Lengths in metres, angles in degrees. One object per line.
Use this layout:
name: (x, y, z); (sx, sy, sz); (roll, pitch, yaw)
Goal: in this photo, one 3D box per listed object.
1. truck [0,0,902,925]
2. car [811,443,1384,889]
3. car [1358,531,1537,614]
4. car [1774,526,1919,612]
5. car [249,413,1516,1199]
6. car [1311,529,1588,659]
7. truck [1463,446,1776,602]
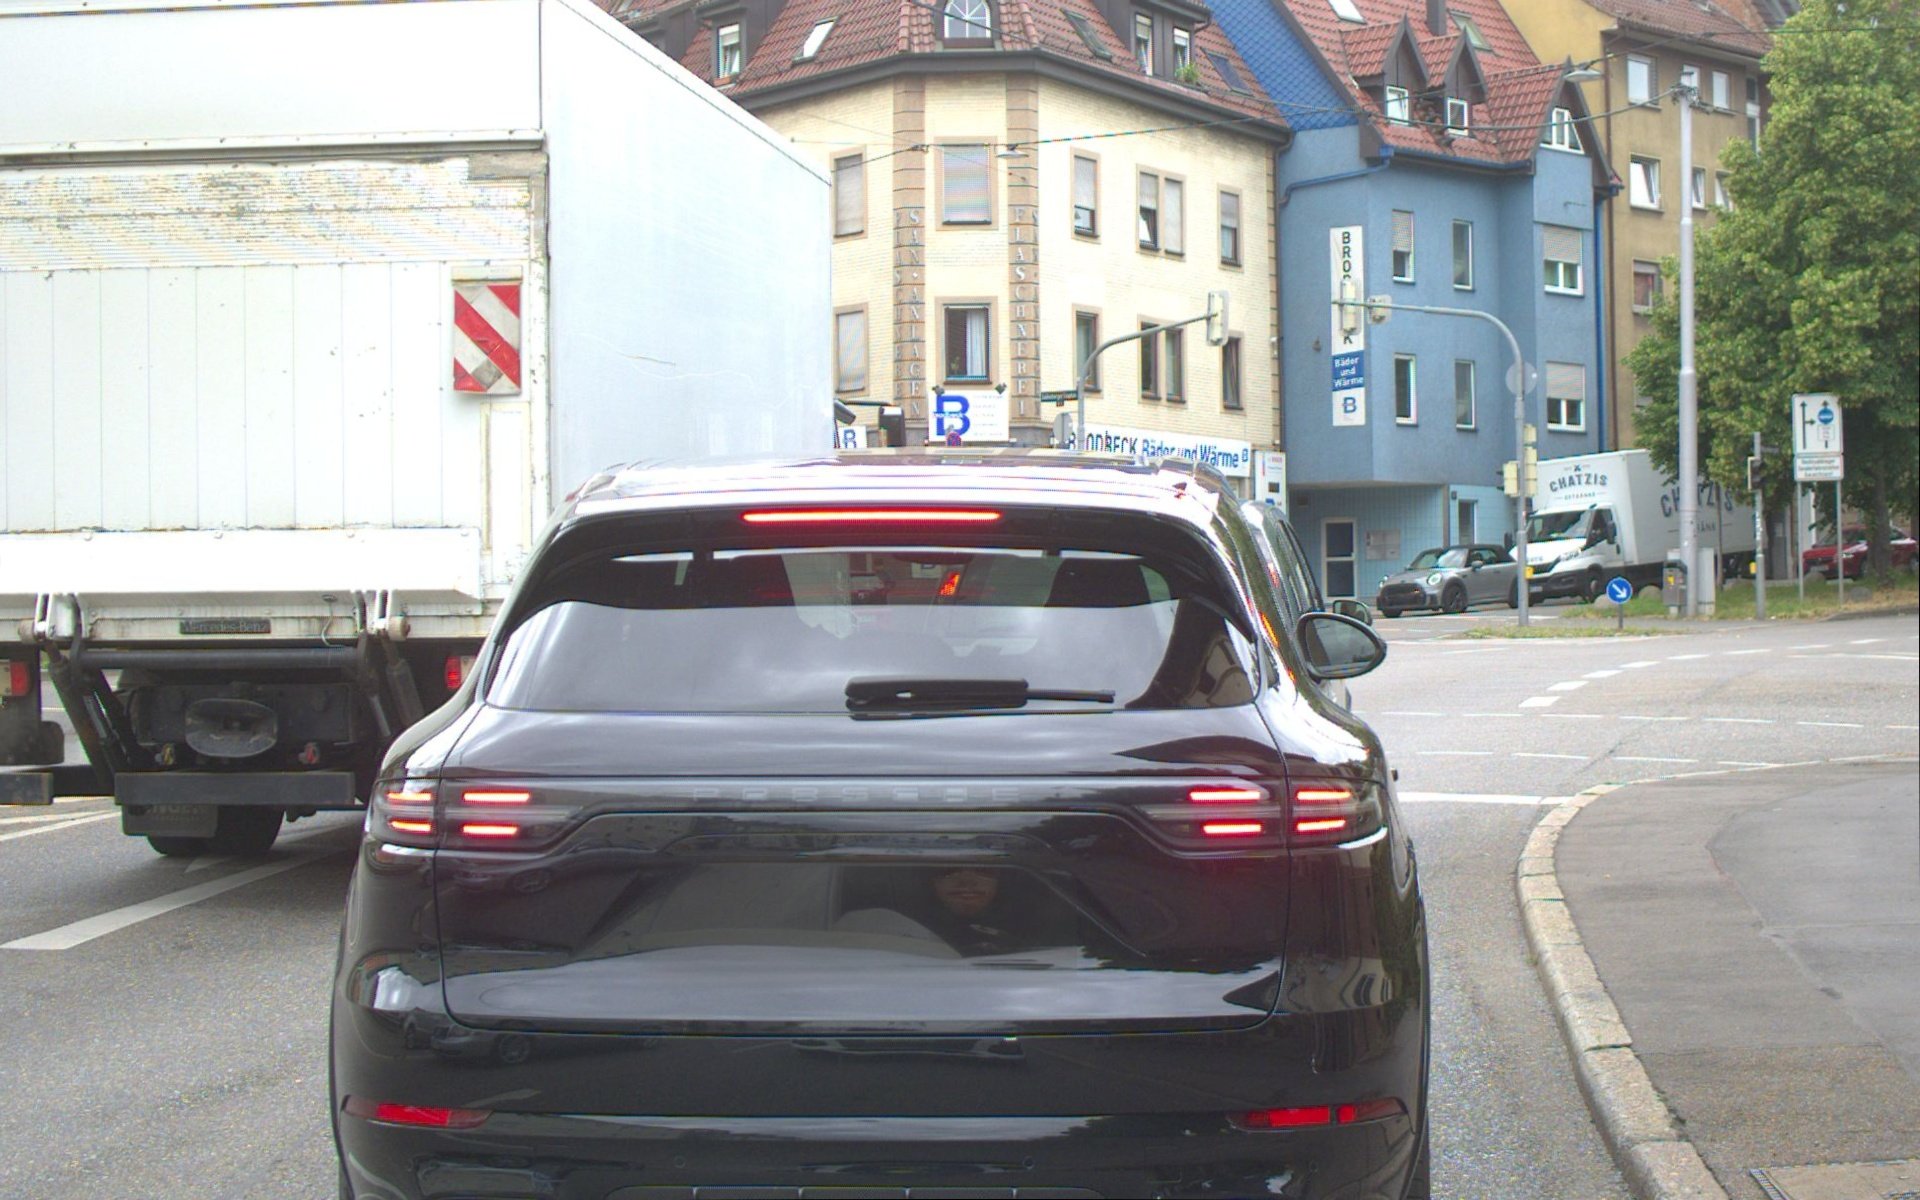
truck: (-2.281, -0.702, 16.739); (2.770, 3.562, 8.062); (0, 1, 8)
car: (0.753, 0.223, 15.073); (1.994, 1.678, 3.998); (0, 1, 10)
car: (10.211, -0.589, 71.861); (1.998, 1.678, 3.991); (0, 1, 38)
car: (22.350, -0.769, 86.183); (1.999, 2.007, 3.990); (2, 1, 43)
car: (-0.228, 0.493, 7.383); (1.978, 1.678, 4.001); (0, 2, -3)
car: (7.854, -0.110, 55.385); (1.994, 2.007, 3.998); (1, 0, -44)
truck: (15.178, -1.680, 78.598); (2.880, 3.328, 8.772); (2, 1, 41)
